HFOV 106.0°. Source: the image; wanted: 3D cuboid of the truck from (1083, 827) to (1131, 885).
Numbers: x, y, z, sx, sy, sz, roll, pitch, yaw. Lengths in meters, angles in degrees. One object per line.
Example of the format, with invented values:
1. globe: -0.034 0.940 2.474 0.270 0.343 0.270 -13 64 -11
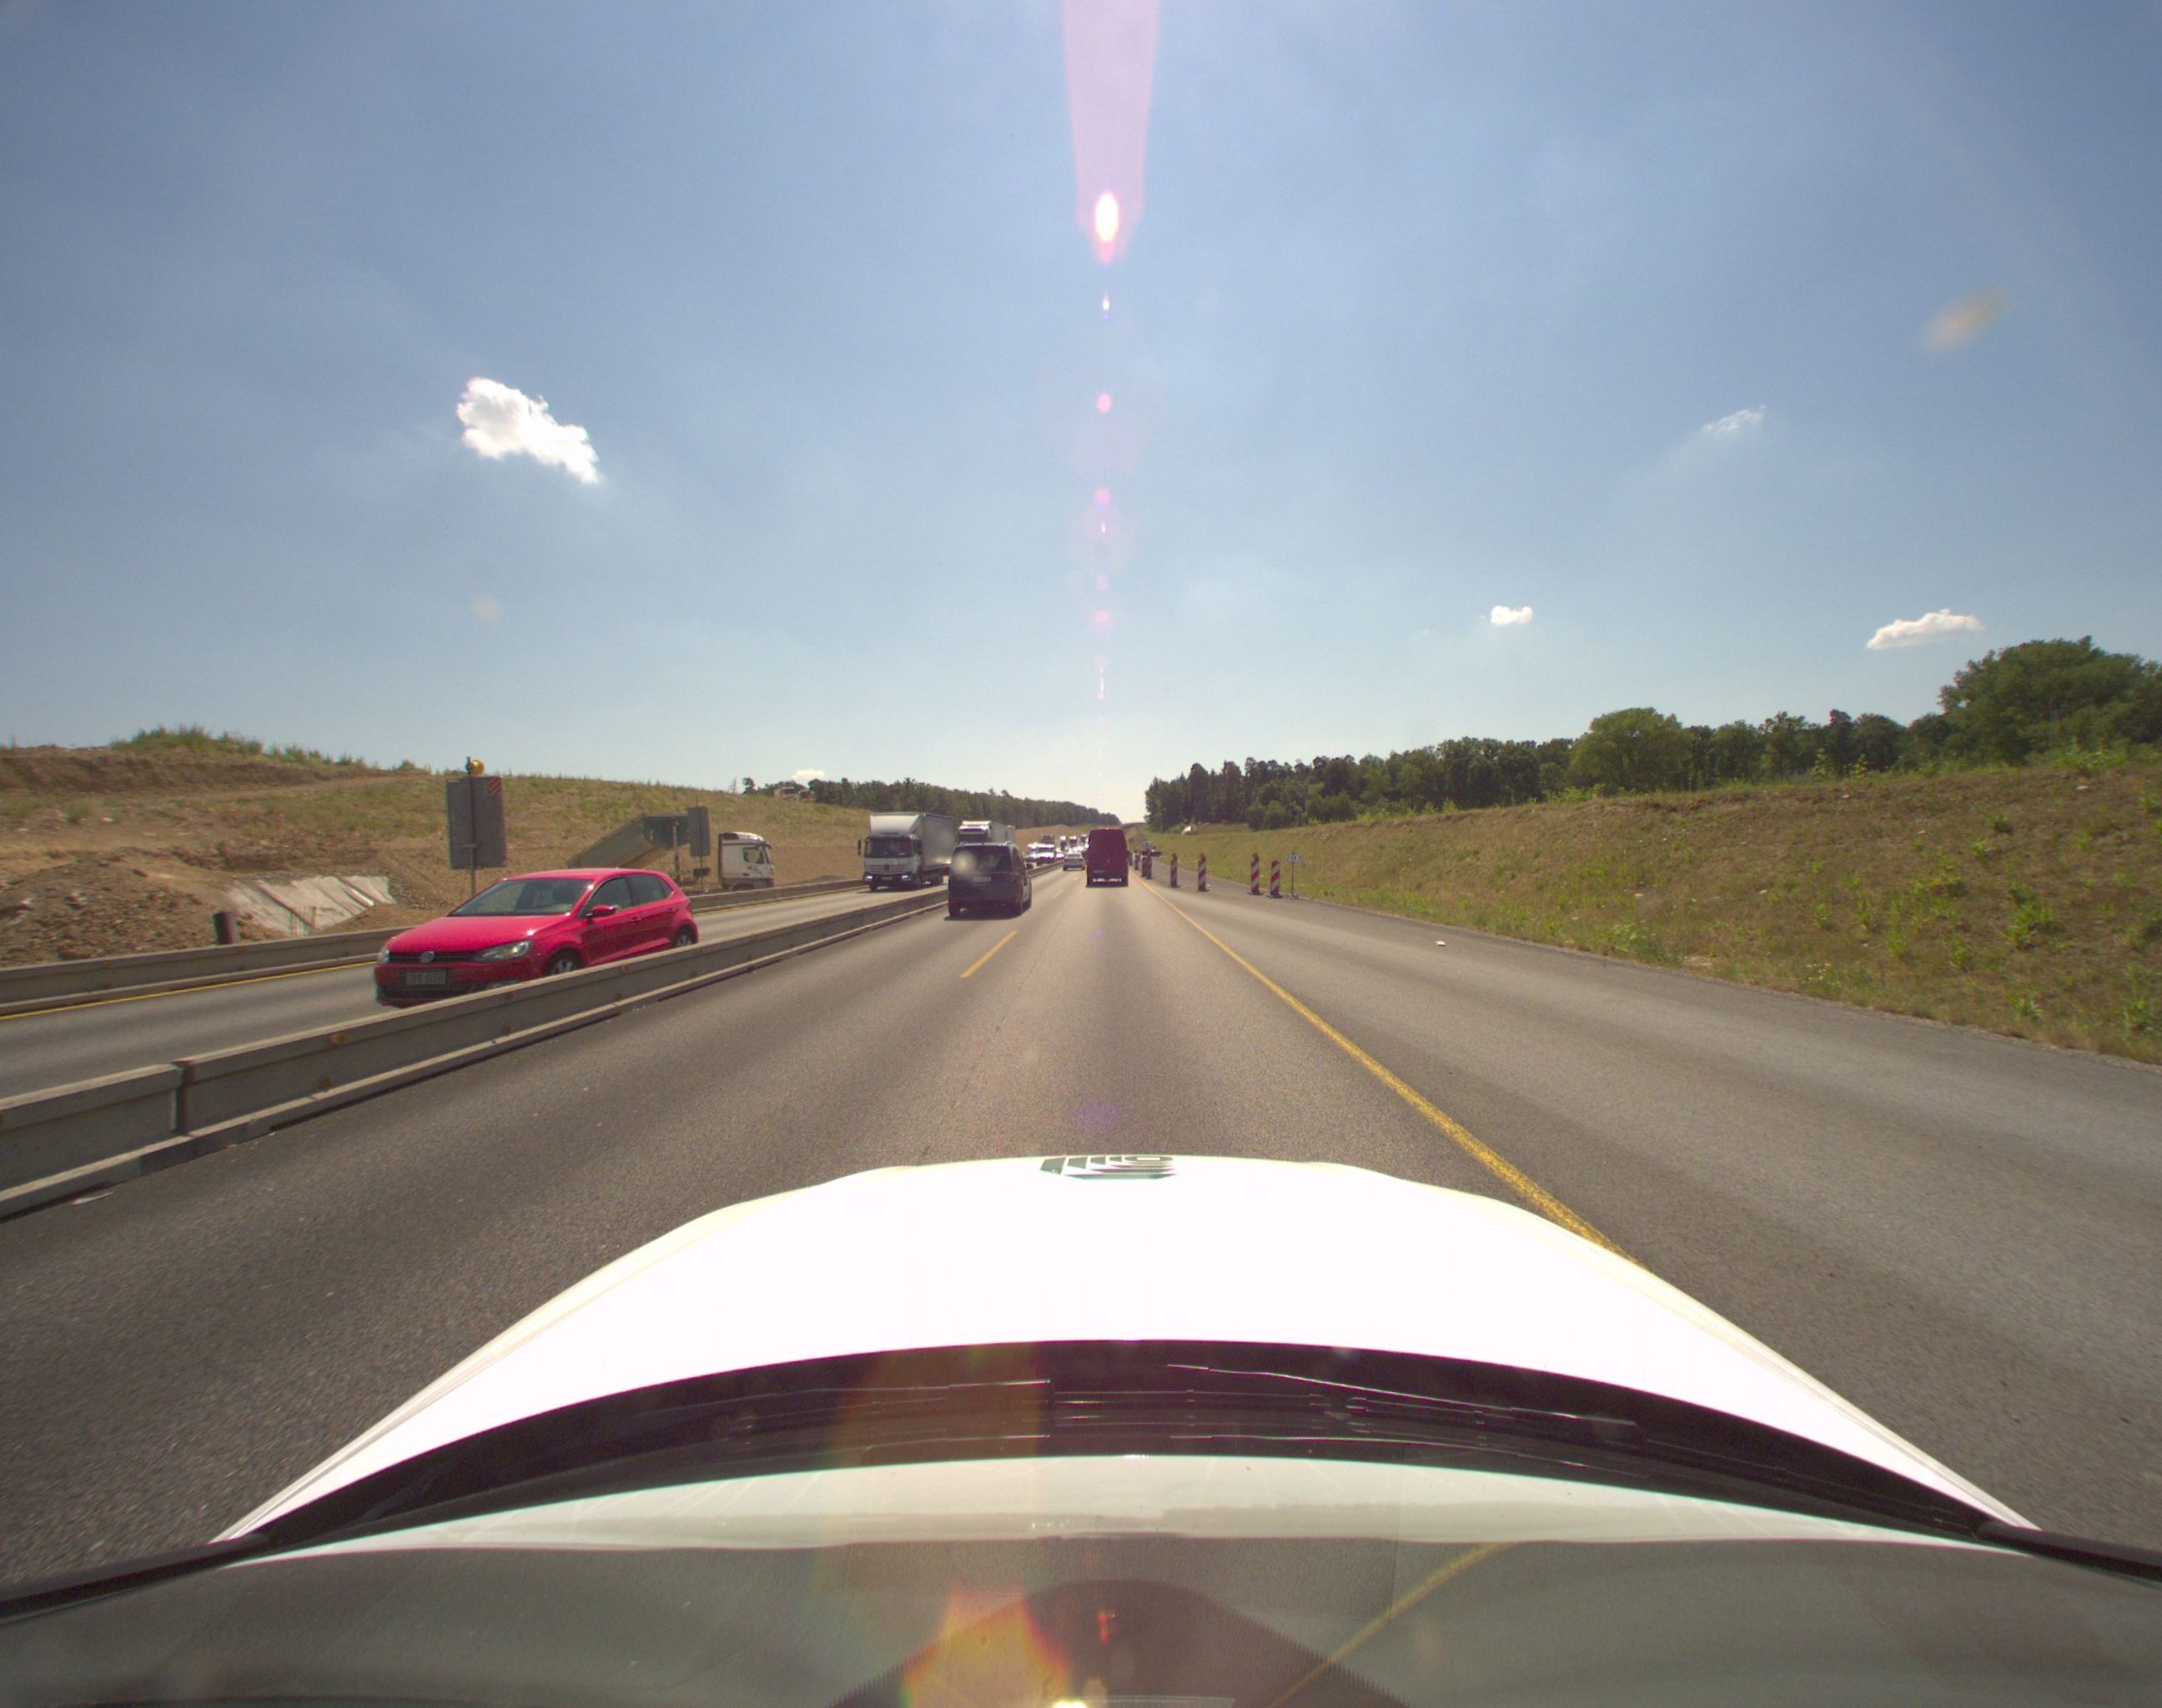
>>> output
1. truck: 1.235 0.110 39.452 2.146 2.590 5.334 -1 0 1

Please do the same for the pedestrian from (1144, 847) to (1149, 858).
1. pedestrian: 10.989 -0.186 135.912 0.642 1.828 0.555 0 1 -19

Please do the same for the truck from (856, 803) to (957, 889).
1. truck: -8.369 -0.322 40.442 2.634 3.716 9.486 -1 0 2

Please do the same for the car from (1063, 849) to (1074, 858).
1. car: -2.139 -0.127 143.721 1.682 1.613 4.595 -1 0 1

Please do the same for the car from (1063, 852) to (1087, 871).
1. car: -0.450 0.598 68.612 1.824 1.522 3.963 -1 0 2

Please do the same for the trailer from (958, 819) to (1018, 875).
1. trailer: -7.524 -0.495 67.933 2.844 4.093 13.657 -2 0 2

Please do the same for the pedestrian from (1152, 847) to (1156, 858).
1. pedestrian: 12.542 -0.205 139.553 0.624 1.828 0.640 0 1 -10

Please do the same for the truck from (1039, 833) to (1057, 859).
1. truck: -5.546 -1.296 137.269 2.482 4.198 5.914 -3 0 2

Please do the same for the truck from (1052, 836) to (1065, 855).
1. truck: -4.848 -1.829 176.979 2.583 4.053 5.151 -1 0 1

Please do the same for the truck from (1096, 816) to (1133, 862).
1. truck: 4.257 -1.735 104.747 4.383 5.496 16.610 -1 0 2

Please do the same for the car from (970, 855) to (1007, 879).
1. car: -5.833 0.809 52.004 1.852 1.442 4.500 -1 0 0

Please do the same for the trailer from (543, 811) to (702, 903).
1. trailer: -22.365 0.181 39.605 8.263 4.098 2.817 -1 -1 29

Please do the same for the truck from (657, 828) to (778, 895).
1. truck: -17.181 0.345 38.555 5.073 2.964 2.564 0 -1 -27

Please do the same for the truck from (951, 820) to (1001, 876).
1. truck: -7.900 -0.440 61.873 2.838 4.018 4.861 -2 0 1

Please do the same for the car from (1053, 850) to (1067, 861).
1. car: -2.914 0.241 113.510 1.682 1.502 3.977 -1 0 1

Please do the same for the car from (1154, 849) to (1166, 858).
1. car: 13.197 -0.130 136.410 1.647 1.426 4.548 -3 1 2

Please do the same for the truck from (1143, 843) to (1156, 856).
1. truck: 12.995 -0.882 154.482 2.117 2.456 5.940 0 1 9

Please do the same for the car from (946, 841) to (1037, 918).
1. car: -2.272 0.578 21.927 1.745 1.824 4.785 -1 1 2

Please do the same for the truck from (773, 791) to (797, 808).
1. truck: -58.282 -10.680 160.228 2.371 2.898 8.279 0 -1 -34

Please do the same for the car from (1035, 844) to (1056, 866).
1. car: -3.934 0.101 90.104 1.986 2.292 5.345 -1 1 1

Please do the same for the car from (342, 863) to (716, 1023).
1. car: -6.154 0.873 9.767 1.621 1.484 4.055 -1 0 2

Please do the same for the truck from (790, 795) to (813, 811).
1. truck: -57.689 -10.496 168.110 2.311 2.749 8.813 0 0 -34

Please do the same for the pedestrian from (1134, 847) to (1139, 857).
1. pedestrian: 10.240 -0.370 150.990 0.724 1.828 0.716 0 -1 -14

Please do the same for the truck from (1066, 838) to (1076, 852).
1. truck: -2.944 -2.715 237.494 2.758 4.044 4.946 -1 0 2
